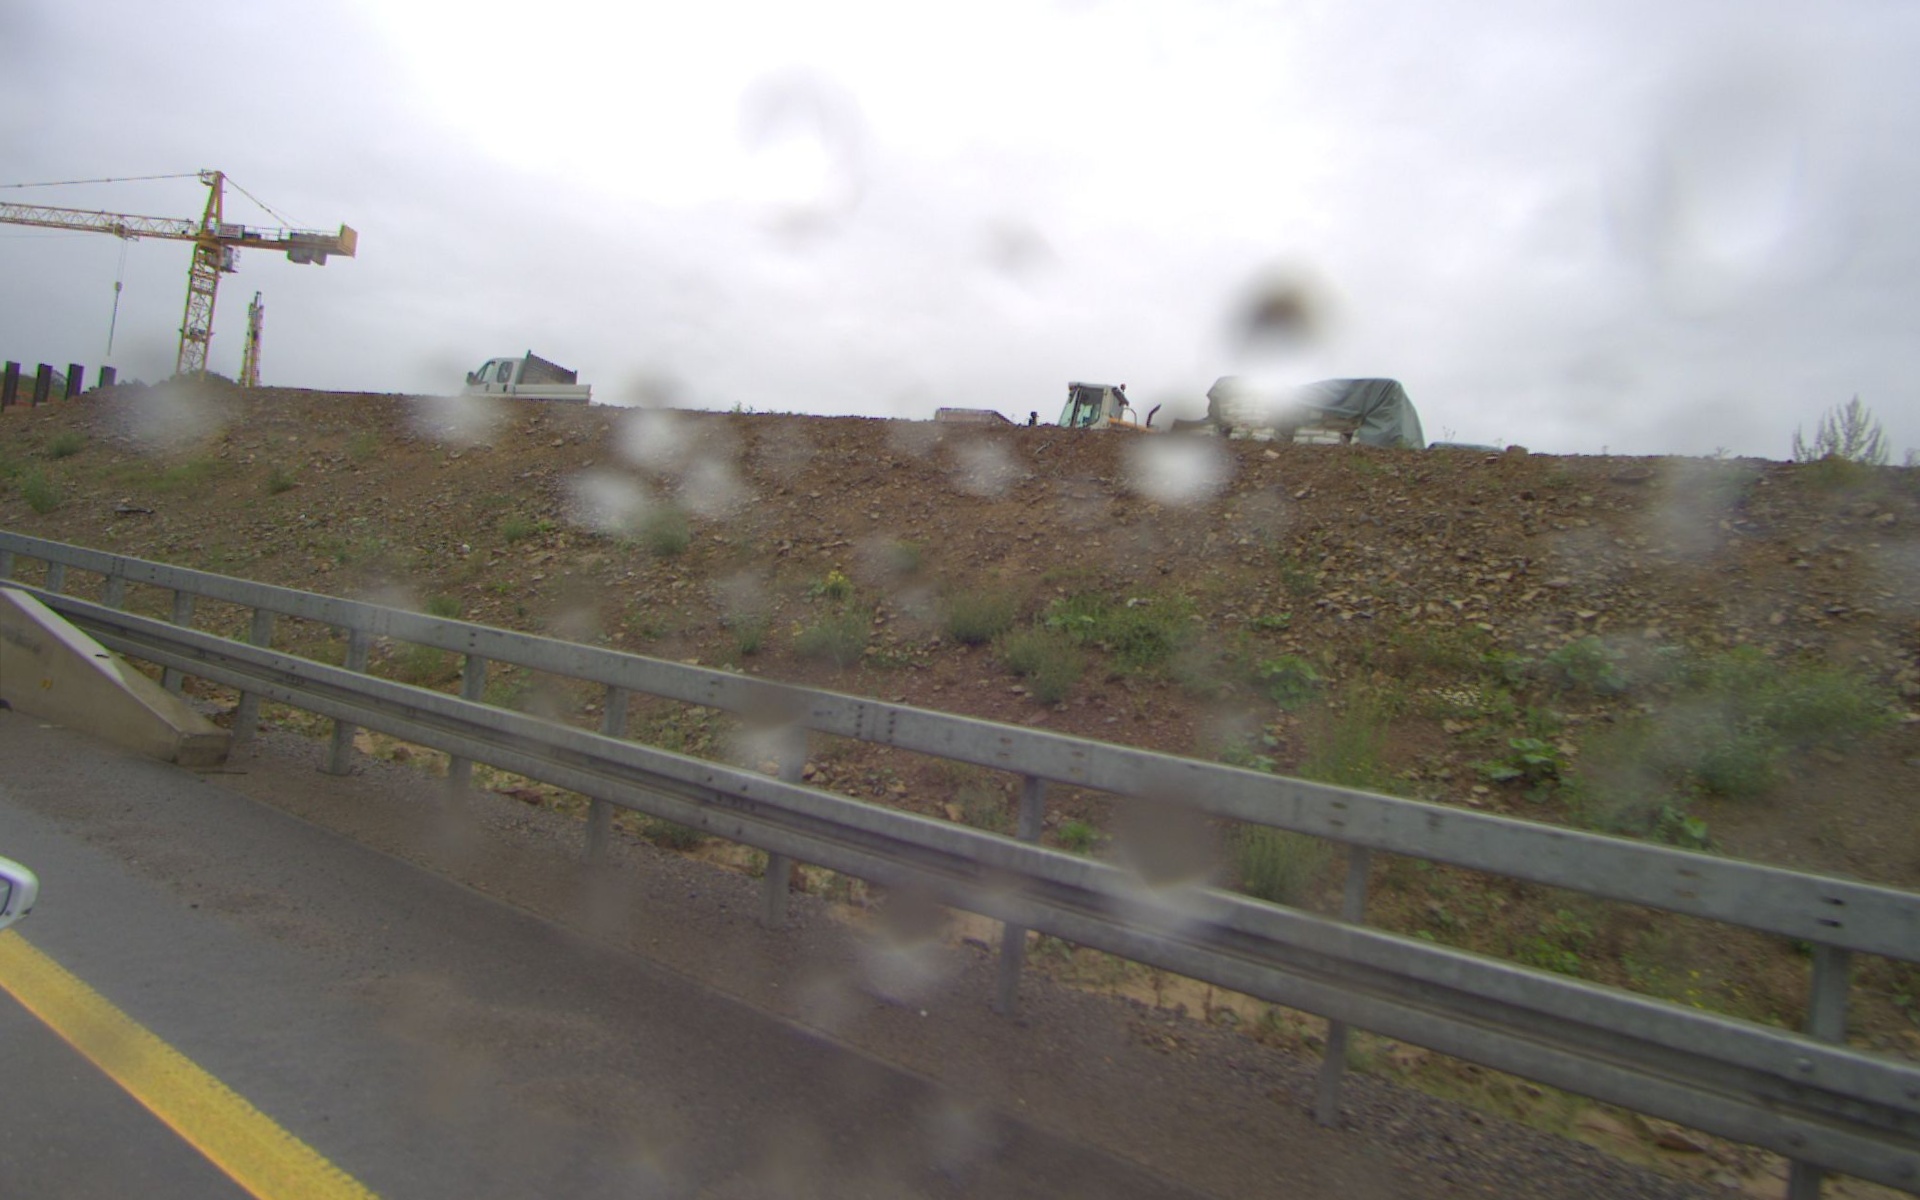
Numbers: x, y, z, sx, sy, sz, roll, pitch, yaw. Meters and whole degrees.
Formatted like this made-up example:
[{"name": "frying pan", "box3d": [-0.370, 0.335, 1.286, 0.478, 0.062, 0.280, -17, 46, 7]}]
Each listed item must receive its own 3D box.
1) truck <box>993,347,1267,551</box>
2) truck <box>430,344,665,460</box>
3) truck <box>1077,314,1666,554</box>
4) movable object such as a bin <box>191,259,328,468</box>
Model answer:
[{"name": "truck", "box3d": [4.162, -3.636, 24.993, 5.879, 4.268, 2.377, 5, -1, 31]}, {"name": "truck", "box3d": [-12.306, -5.722, 29.840, 6.868, 2.584, 2.650, 5, -2, 30]}, {"name": "truck", "box3d": [6.904, -2.685, 17.832, 8.815, 2.908, 3.400, 5, -2, 33]}, {"name": "movable object such as a bin", "box3d": [-45.058, -14.635, 64.509, 4.706, 10.970, 10.177, 7, -2, -44]}]
